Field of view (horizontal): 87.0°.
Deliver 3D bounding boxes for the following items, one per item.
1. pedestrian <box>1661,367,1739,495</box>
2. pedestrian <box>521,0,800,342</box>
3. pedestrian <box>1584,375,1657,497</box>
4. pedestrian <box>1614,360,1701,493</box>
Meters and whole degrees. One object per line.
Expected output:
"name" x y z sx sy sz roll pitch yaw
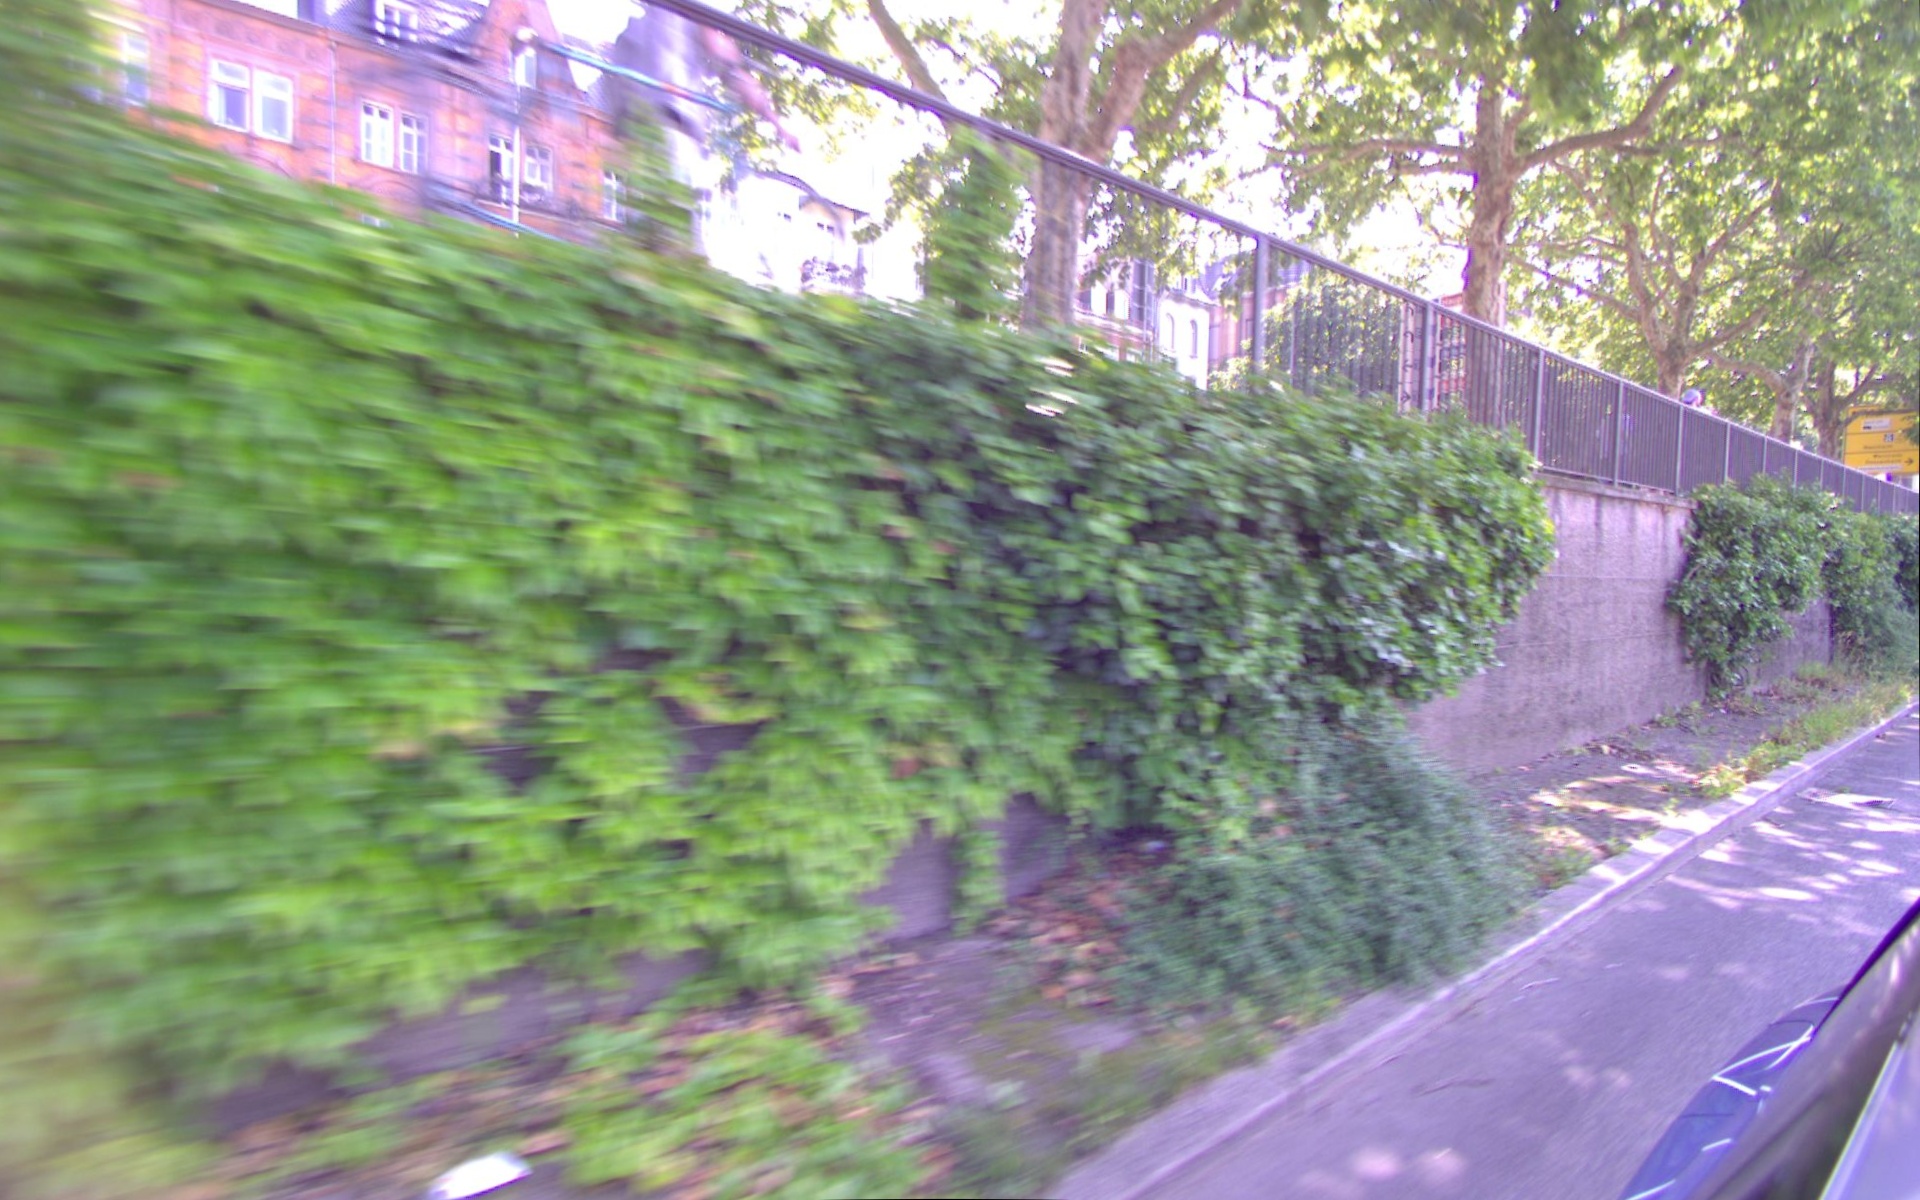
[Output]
"pedestrian" 10.065 -2.265 13.764 0.751 1.610 0.666 -1 3 -41
"pedestrian" -1.158 -1.923 3.905 0.797 1.610 0.738 -1 3 -41
"pedestrian" 9.350 -2.292 14.332 0.639 1.610 0.666 -1 3 -41
"pedestrian" 9.246 -2.266 13.422 0.797 1.610 0.738 -1 3 -41
